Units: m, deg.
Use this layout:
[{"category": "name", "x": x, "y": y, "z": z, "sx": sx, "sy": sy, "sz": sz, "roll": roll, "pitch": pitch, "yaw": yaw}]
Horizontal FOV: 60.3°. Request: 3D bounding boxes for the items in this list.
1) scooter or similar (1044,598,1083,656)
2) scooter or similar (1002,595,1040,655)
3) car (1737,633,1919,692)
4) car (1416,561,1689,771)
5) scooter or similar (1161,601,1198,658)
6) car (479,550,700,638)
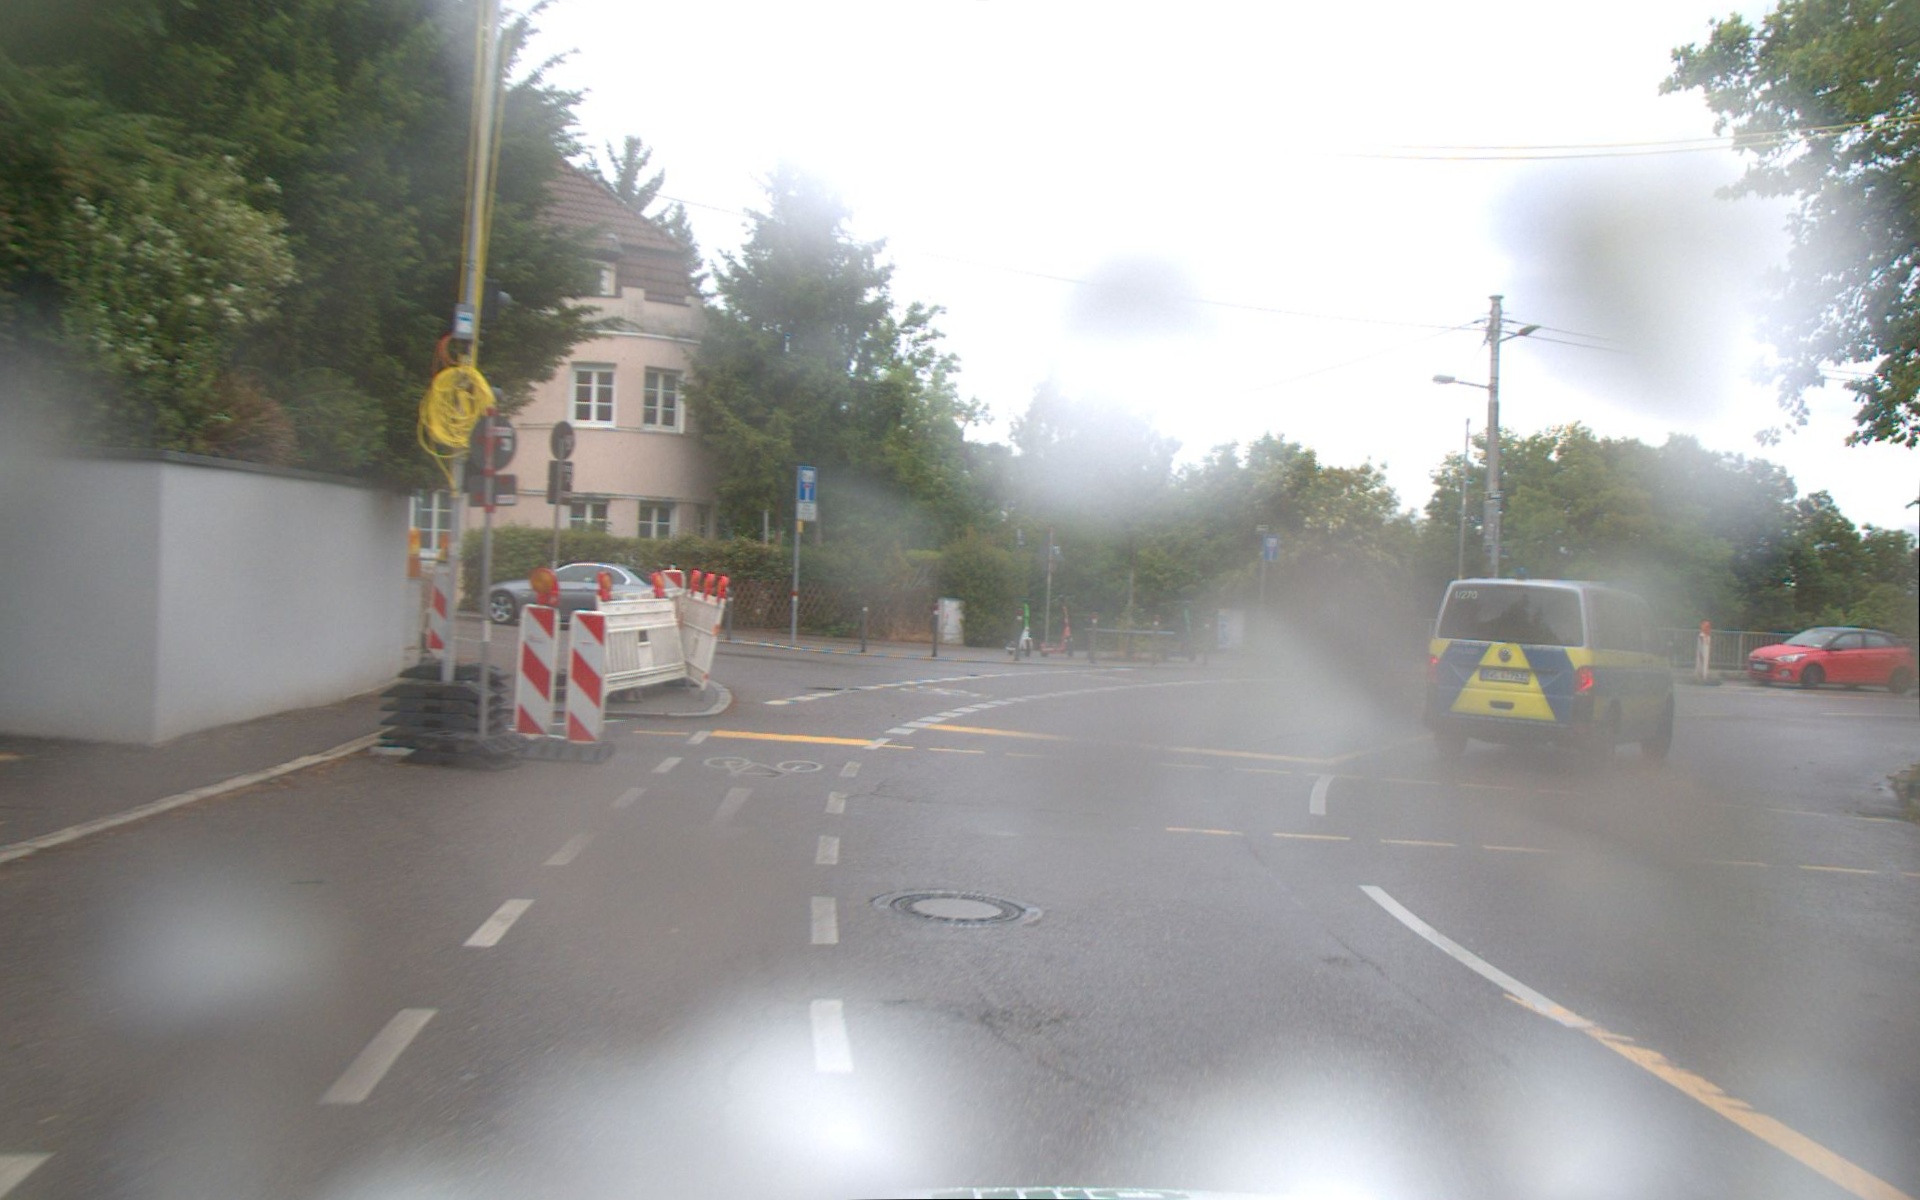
[{"category": "scooter or similar", "x": 2.127, "y": 0.551, "z": 34.157, "sx": 0.456, "sy": 1.164, "sz": 0.991, "roll": 3, "pitch": -1, "yaw": -16}, {"category": "scooter or similar", "x": 1.267, "y": 0.512, "z": 34.413, "sx": 0.456, "sy": 1.207, "sz": 1.021, "roll": 3, "pitch": -1, "yaw": -15}, {"category": "car", "x": 21.261, "y": 1.497, "z": 40.353, "sx": 3.917, "sy": 1.355, "sz": 1.792, "roll": 0, "pitch": 0, "yaw": -12}, {"category": "car", "x": 6.866, "y": 0.730, "z": 18.866, "sx": 1.875, "sy": 2.045, "sz": 4.425, "roll": 2, "pitch": -1, "yaw": 34}, {"category": "scooter or similar", "x": 4.637, "y": 0.622, "z": 35.006, "sx": 0.456, "sy": 1.164, "sz": 0.832, "roll": 3, "pitch": -1, "yaw": -14}, {"category": "car", "x": -7.404, "y": -0.106, "z": 33.207, "sx": 3.902, "sy": 1.544, "sz": 1.729, "roll": 3, "pitch": -1, "yaw": 14}]
